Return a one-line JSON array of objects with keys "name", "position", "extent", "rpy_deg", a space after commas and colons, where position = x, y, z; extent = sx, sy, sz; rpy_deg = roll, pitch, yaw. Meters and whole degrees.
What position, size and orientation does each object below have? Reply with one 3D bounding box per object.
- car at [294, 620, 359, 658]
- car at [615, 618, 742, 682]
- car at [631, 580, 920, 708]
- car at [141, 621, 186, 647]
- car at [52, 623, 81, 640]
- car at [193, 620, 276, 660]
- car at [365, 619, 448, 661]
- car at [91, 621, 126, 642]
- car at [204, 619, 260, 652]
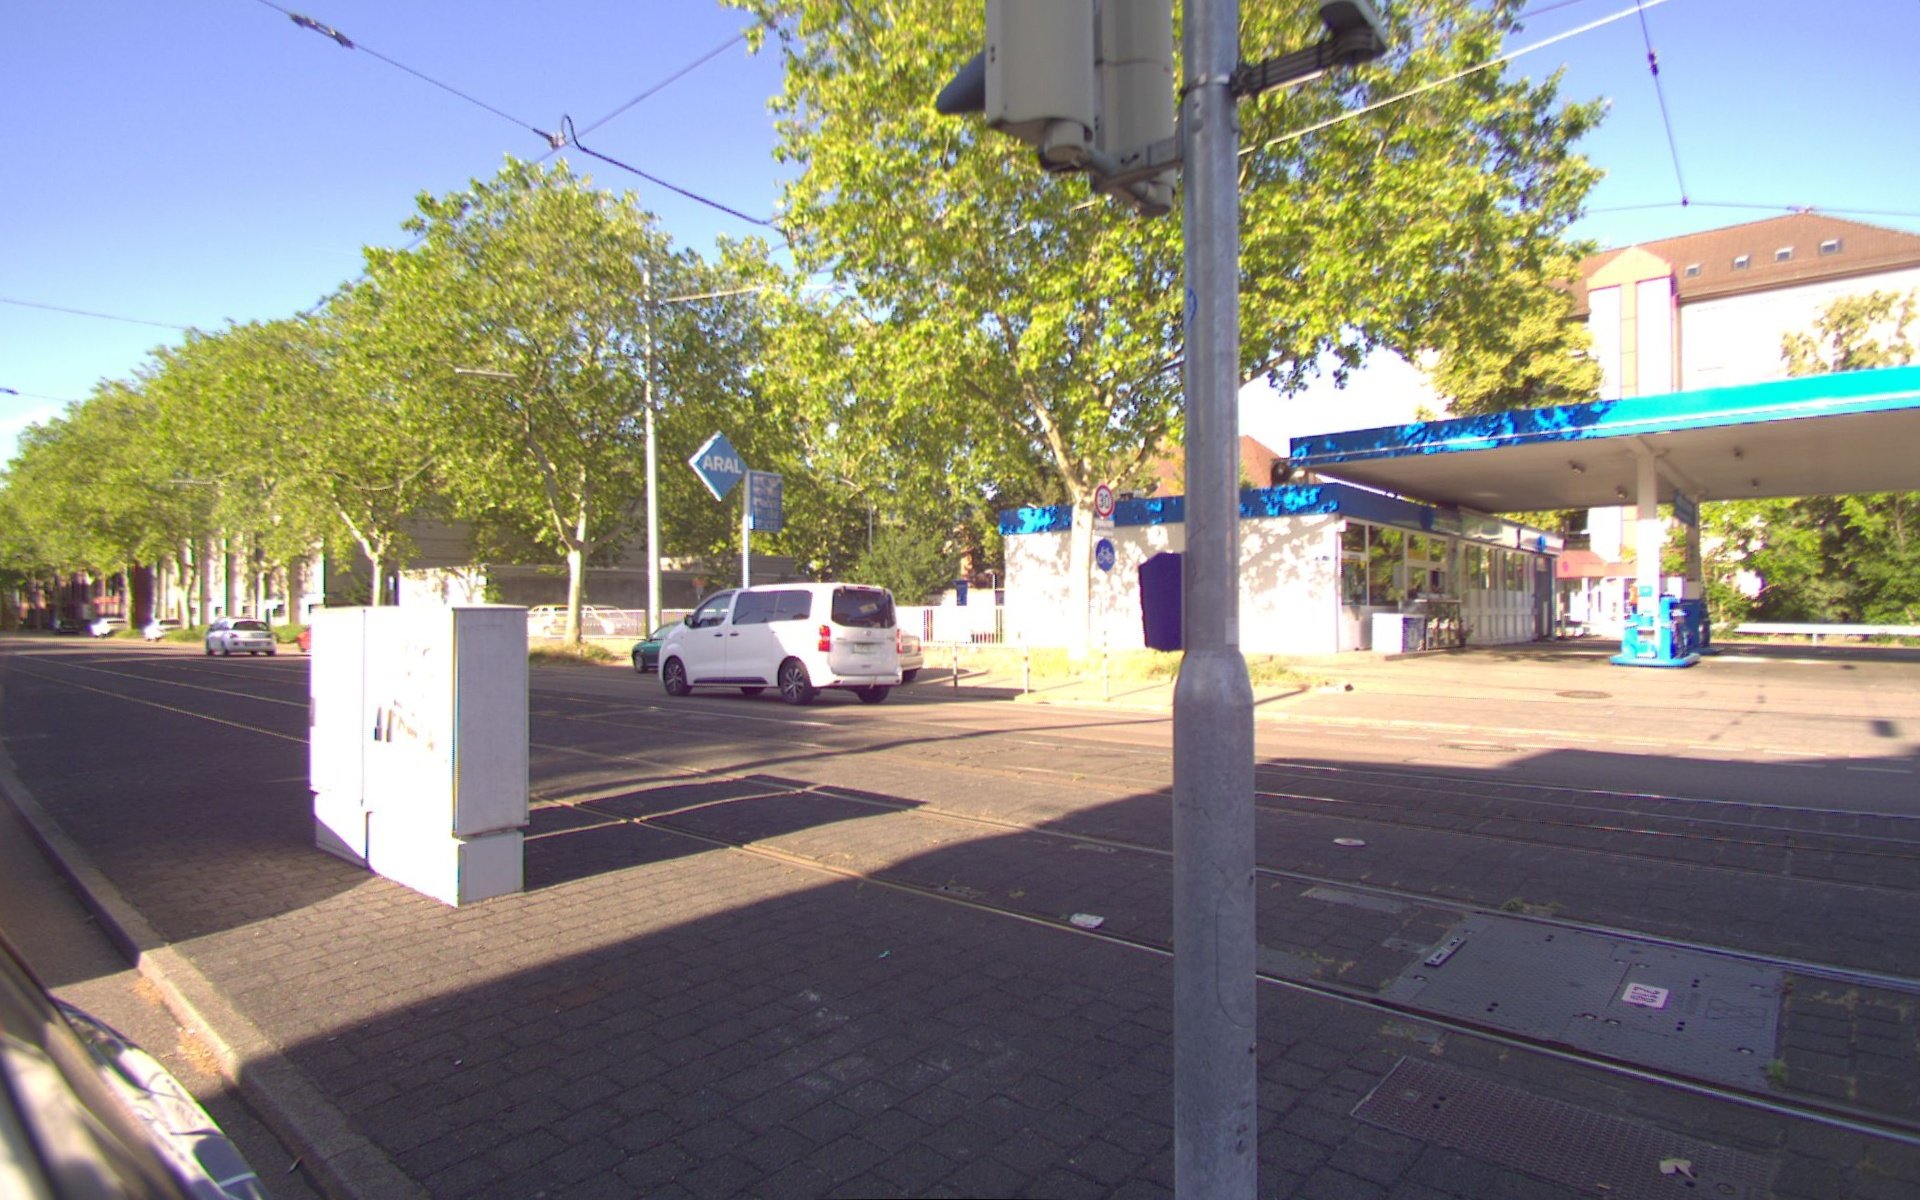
[{"name": "car", "position": [-28.792, 1.735, 45.992], "extent": [3.377, 1.506, 1.639], "rpy_deg": [-1, 2, 43]}, {"name": "car", "position": [-7.560, 1.278, 27.034], "extent": [3.606, 1.455, 1.598], "rpy_deg": [-1, 2, 43]}, {"name": "car", "position": [-3.267, 0.739, 17.213], "extent": [5.213, 1.868, 1.973], "rpy_deg": [-1, -4, 41]}, {"name": "car", "position": [-53.717, 2.246, 68.229], "extent": [3.878, 1.552, 1.731], "rpy_deg": [-1, 2, 43]}, {"name": "car", "position": [-85.058, 2.960, 96.309], "extent": [3.731, 1.471, 1.639], "rpy_deg": [-1, 2, 43]}, {"name": "car", "position": [-28.350, 1.543, 39.507], "extent": [3.933, 1.446, 1.720], "rpy_deg": [-1, -4, 41]}, {"name": "car", "position": [-21.853, 1.539, 39.896], "extent": [3.769, 1.455, 1.701], "rpy_deg": [-1, 2, 43]}, {"name": "car", "position": [-66.807, 2.457, 79.393], "extent": [3.731, 1.471, 1.639], "rpy_deg": [-1, 2, 43]}, {"name": "car", "position": [-40.674, 1.952, 56.518], "extent": [3.878, 1.603, 1.731], "rpy_deg": [-1, 2, 43]}]
